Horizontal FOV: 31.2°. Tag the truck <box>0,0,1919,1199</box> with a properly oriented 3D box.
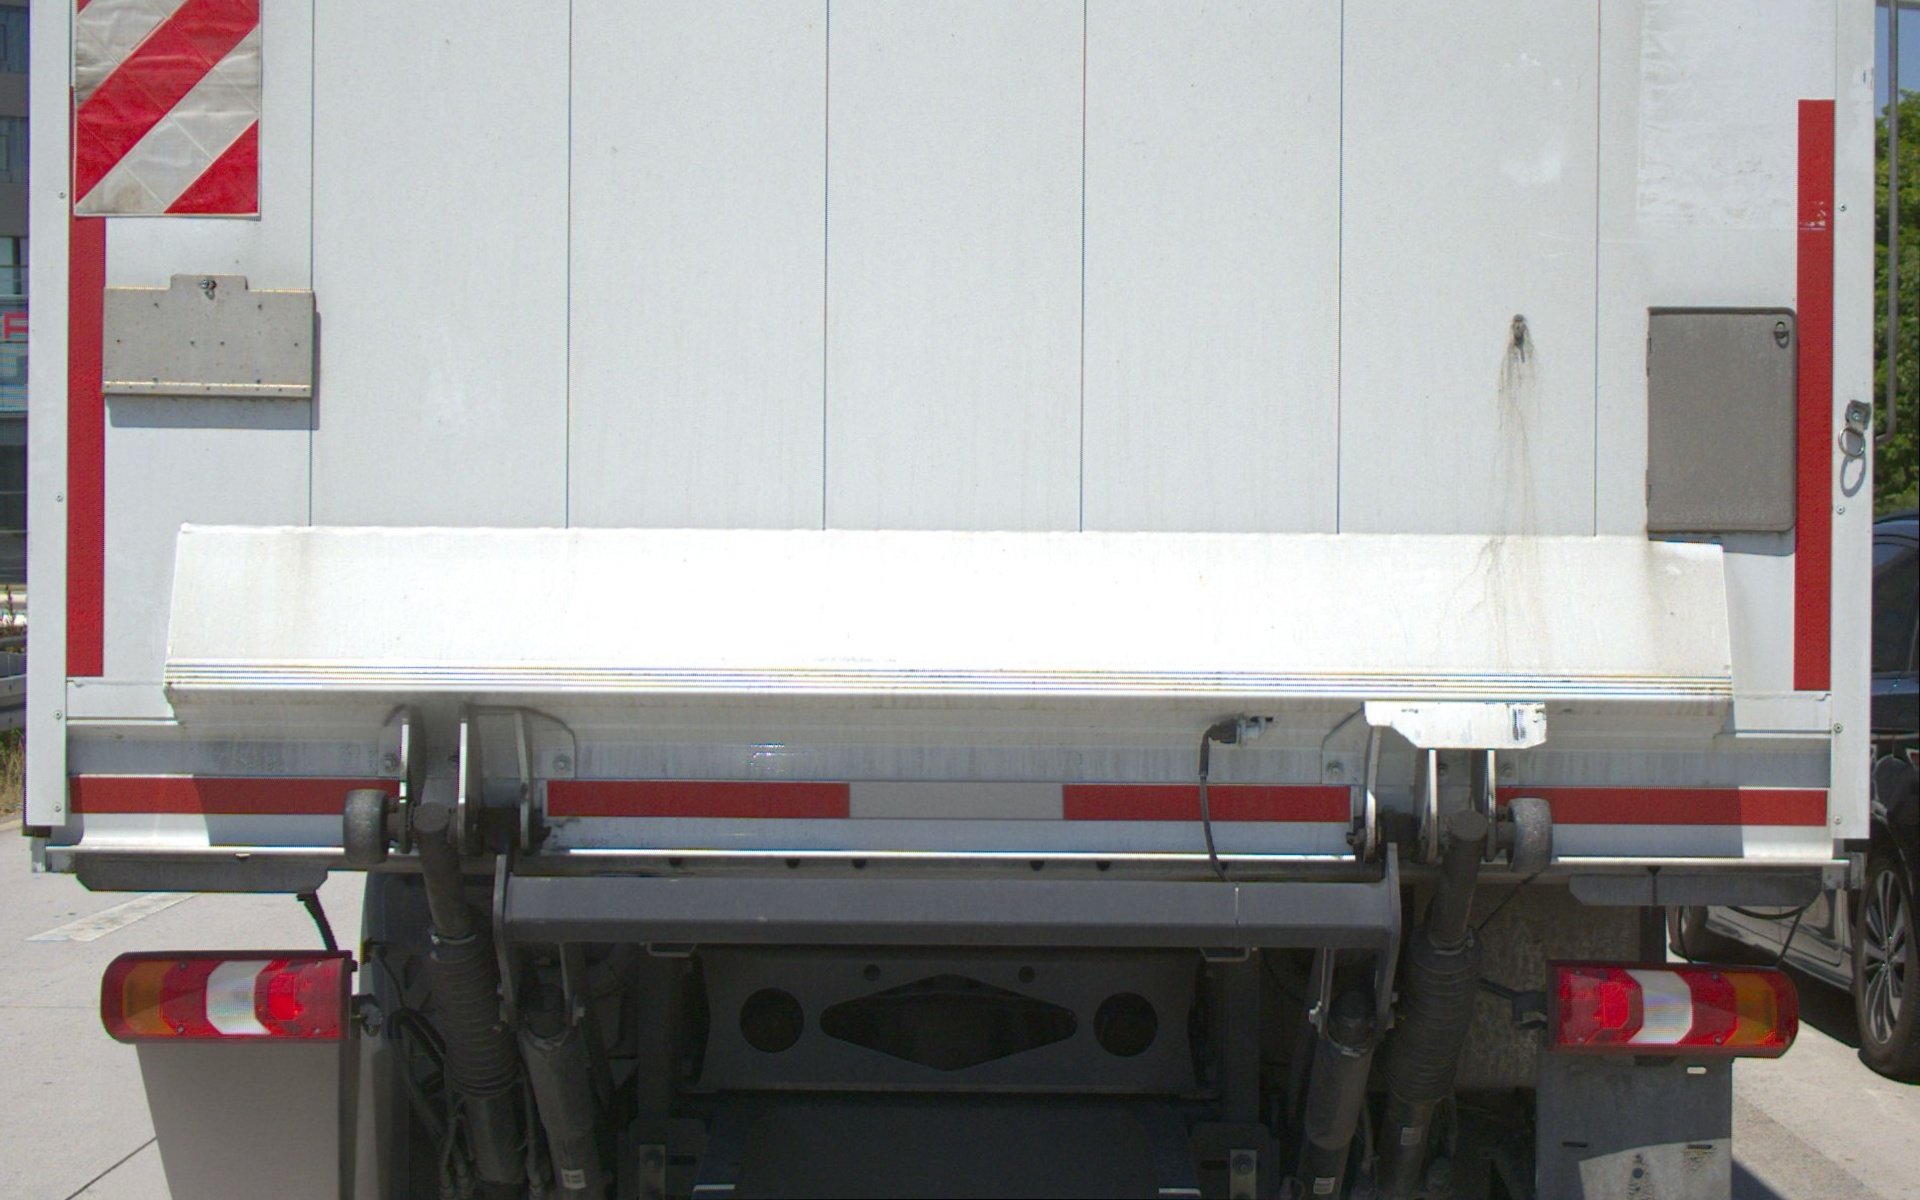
[{"bbox_3d":[0.003,-0.555,9.174,2.769,3.846,9.371,1,1,-1],"label":"truck"}]

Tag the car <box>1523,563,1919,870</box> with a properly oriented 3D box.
[{"bbox_3d":[4.182,0.521,18.261,1.768,1.405,4.609,1,1,2],"label":"car"}]

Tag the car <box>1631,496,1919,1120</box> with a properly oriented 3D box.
[{"bbox_3d":[3.467,0.535,11.090,1.784,1.634,4.647,1,1,1],"label":"car"}]
